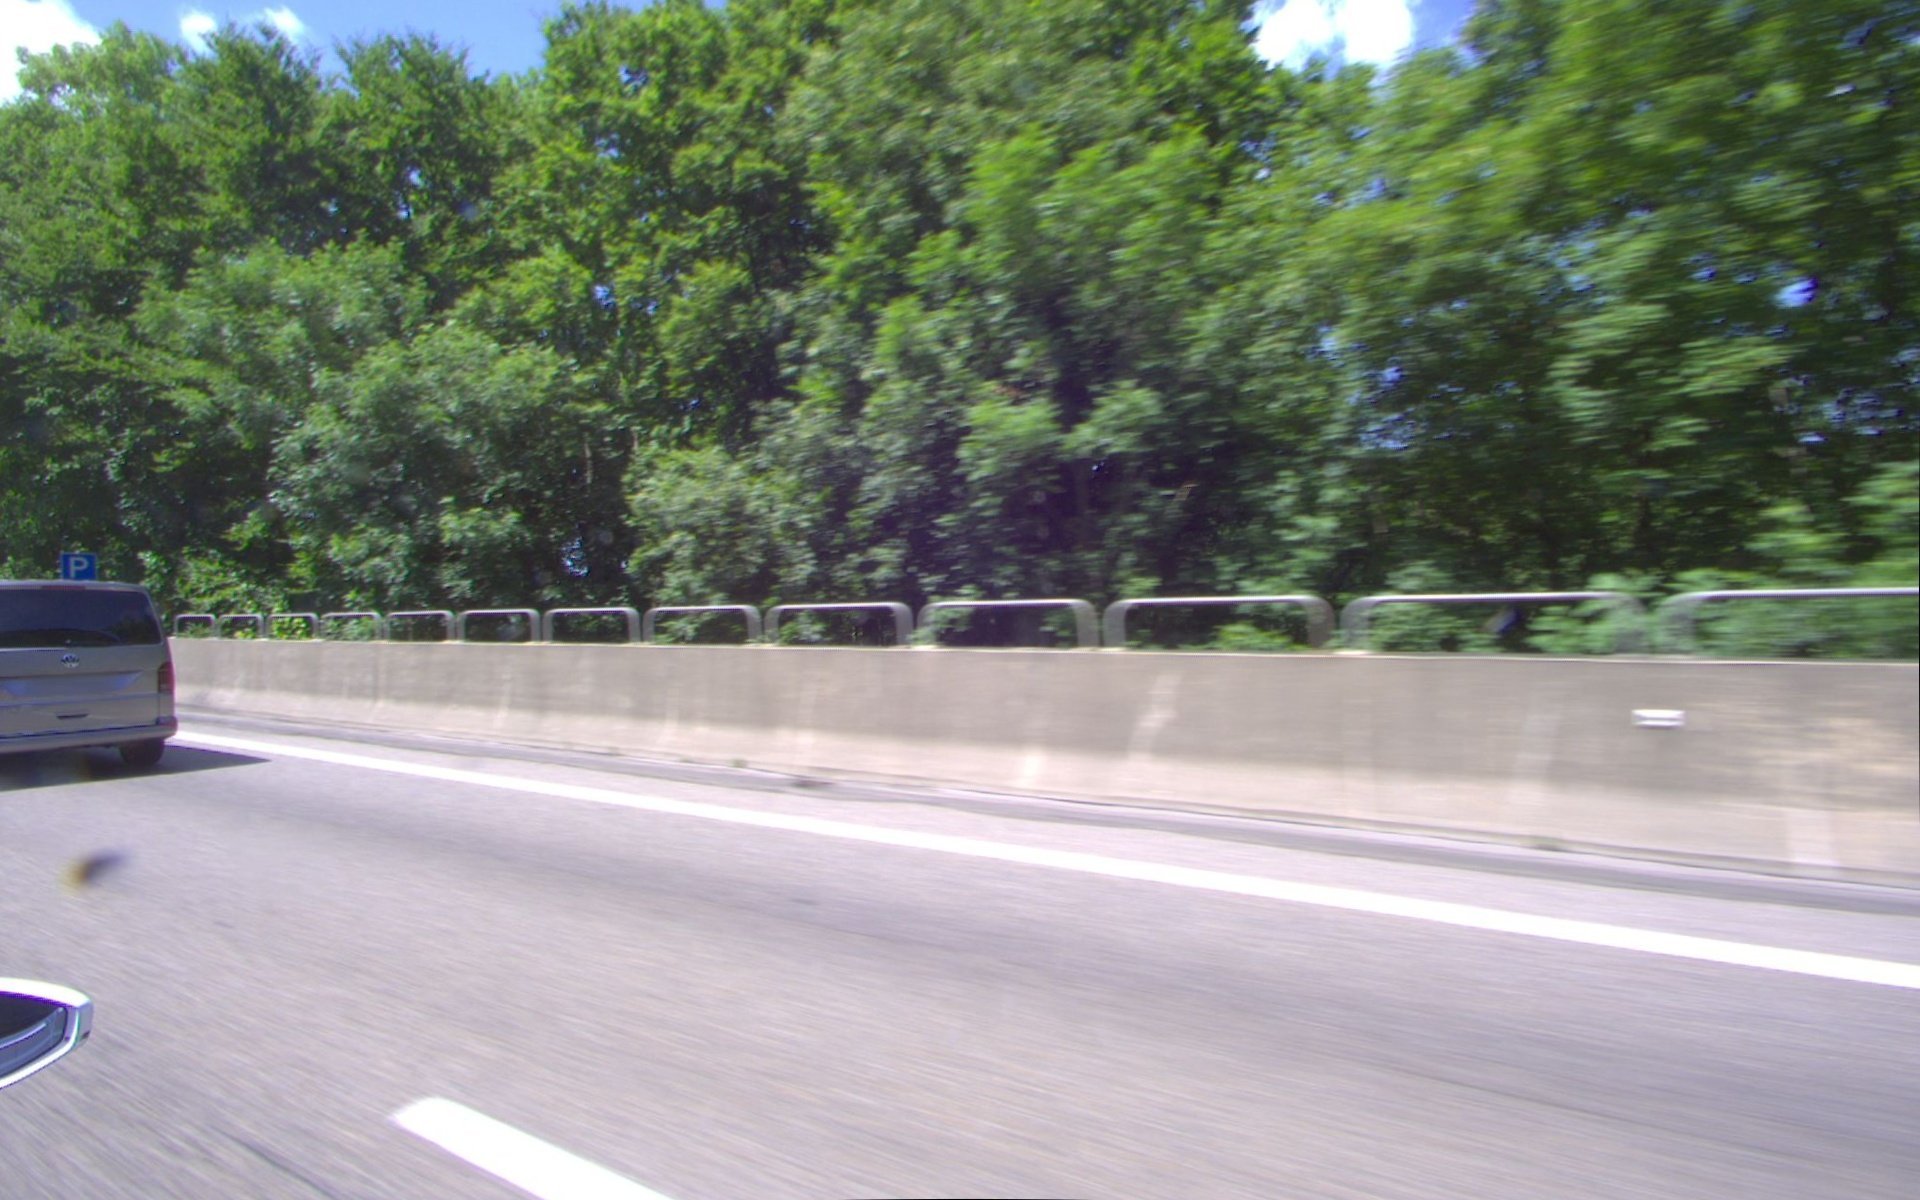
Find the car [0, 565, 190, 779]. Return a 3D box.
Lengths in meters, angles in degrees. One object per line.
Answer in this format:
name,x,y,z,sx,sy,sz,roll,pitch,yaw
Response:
car,-10.430,0.718,10.878,4.630,1.956,1.936,-1,-1,34
